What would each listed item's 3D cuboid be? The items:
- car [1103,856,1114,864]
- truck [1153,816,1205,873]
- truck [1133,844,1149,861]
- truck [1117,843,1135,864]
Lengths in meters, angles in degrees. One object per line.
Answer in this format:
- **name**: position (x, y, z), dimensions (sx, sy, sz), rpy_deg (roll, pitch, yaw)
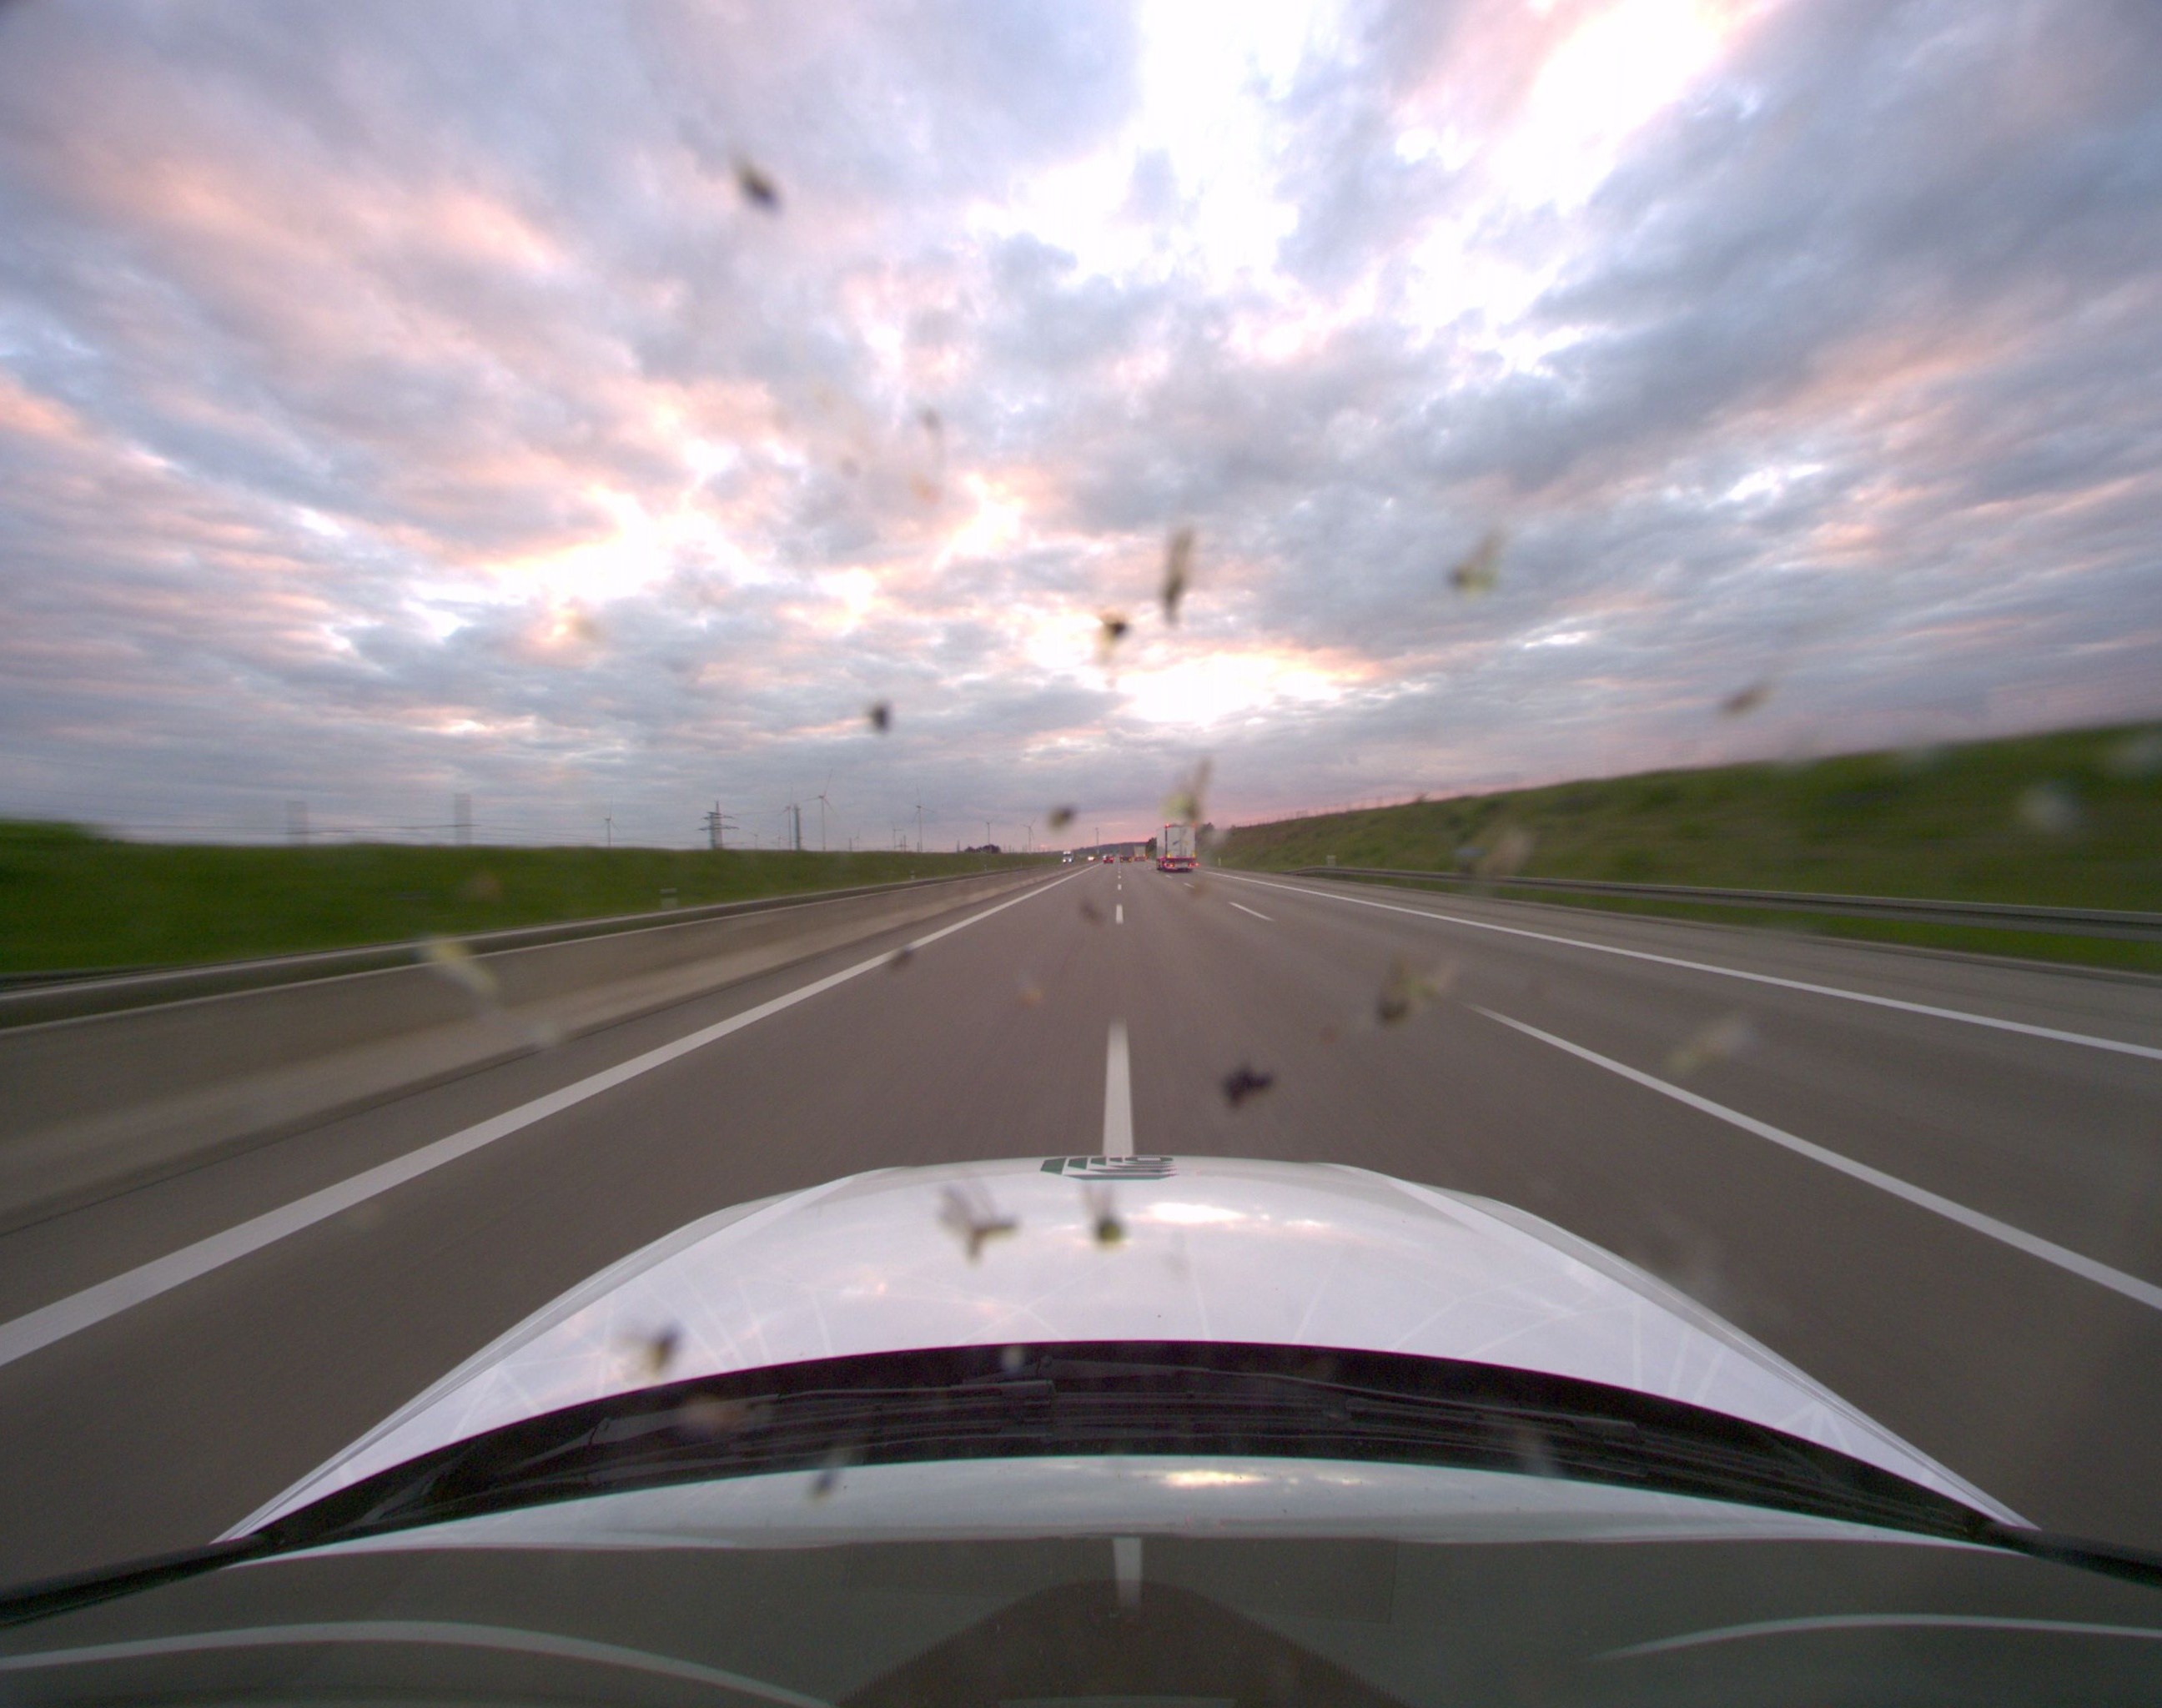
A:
- **car**: position (5.208, 1.166, 154.207), dimensions (1.979, 1.429, 4.004), rpy_deg (-2, 0, 3)
- **truck**: position (8.605, -0.808, 73.034), dimensions (3.661, 4.564, 10.988), rpy_deg (-2, 0, 3)
- **truck**: position (15.849, -0.421, 216.135), dimensions (3.951, 4.414, 8.640), rpy_deg (-3, 0, 2)
- **truck**: position (10.105, -0.153, 183.564), dimensions (3.633, 4.414, 8.640), rpy_deg (-3, 0, 2)
